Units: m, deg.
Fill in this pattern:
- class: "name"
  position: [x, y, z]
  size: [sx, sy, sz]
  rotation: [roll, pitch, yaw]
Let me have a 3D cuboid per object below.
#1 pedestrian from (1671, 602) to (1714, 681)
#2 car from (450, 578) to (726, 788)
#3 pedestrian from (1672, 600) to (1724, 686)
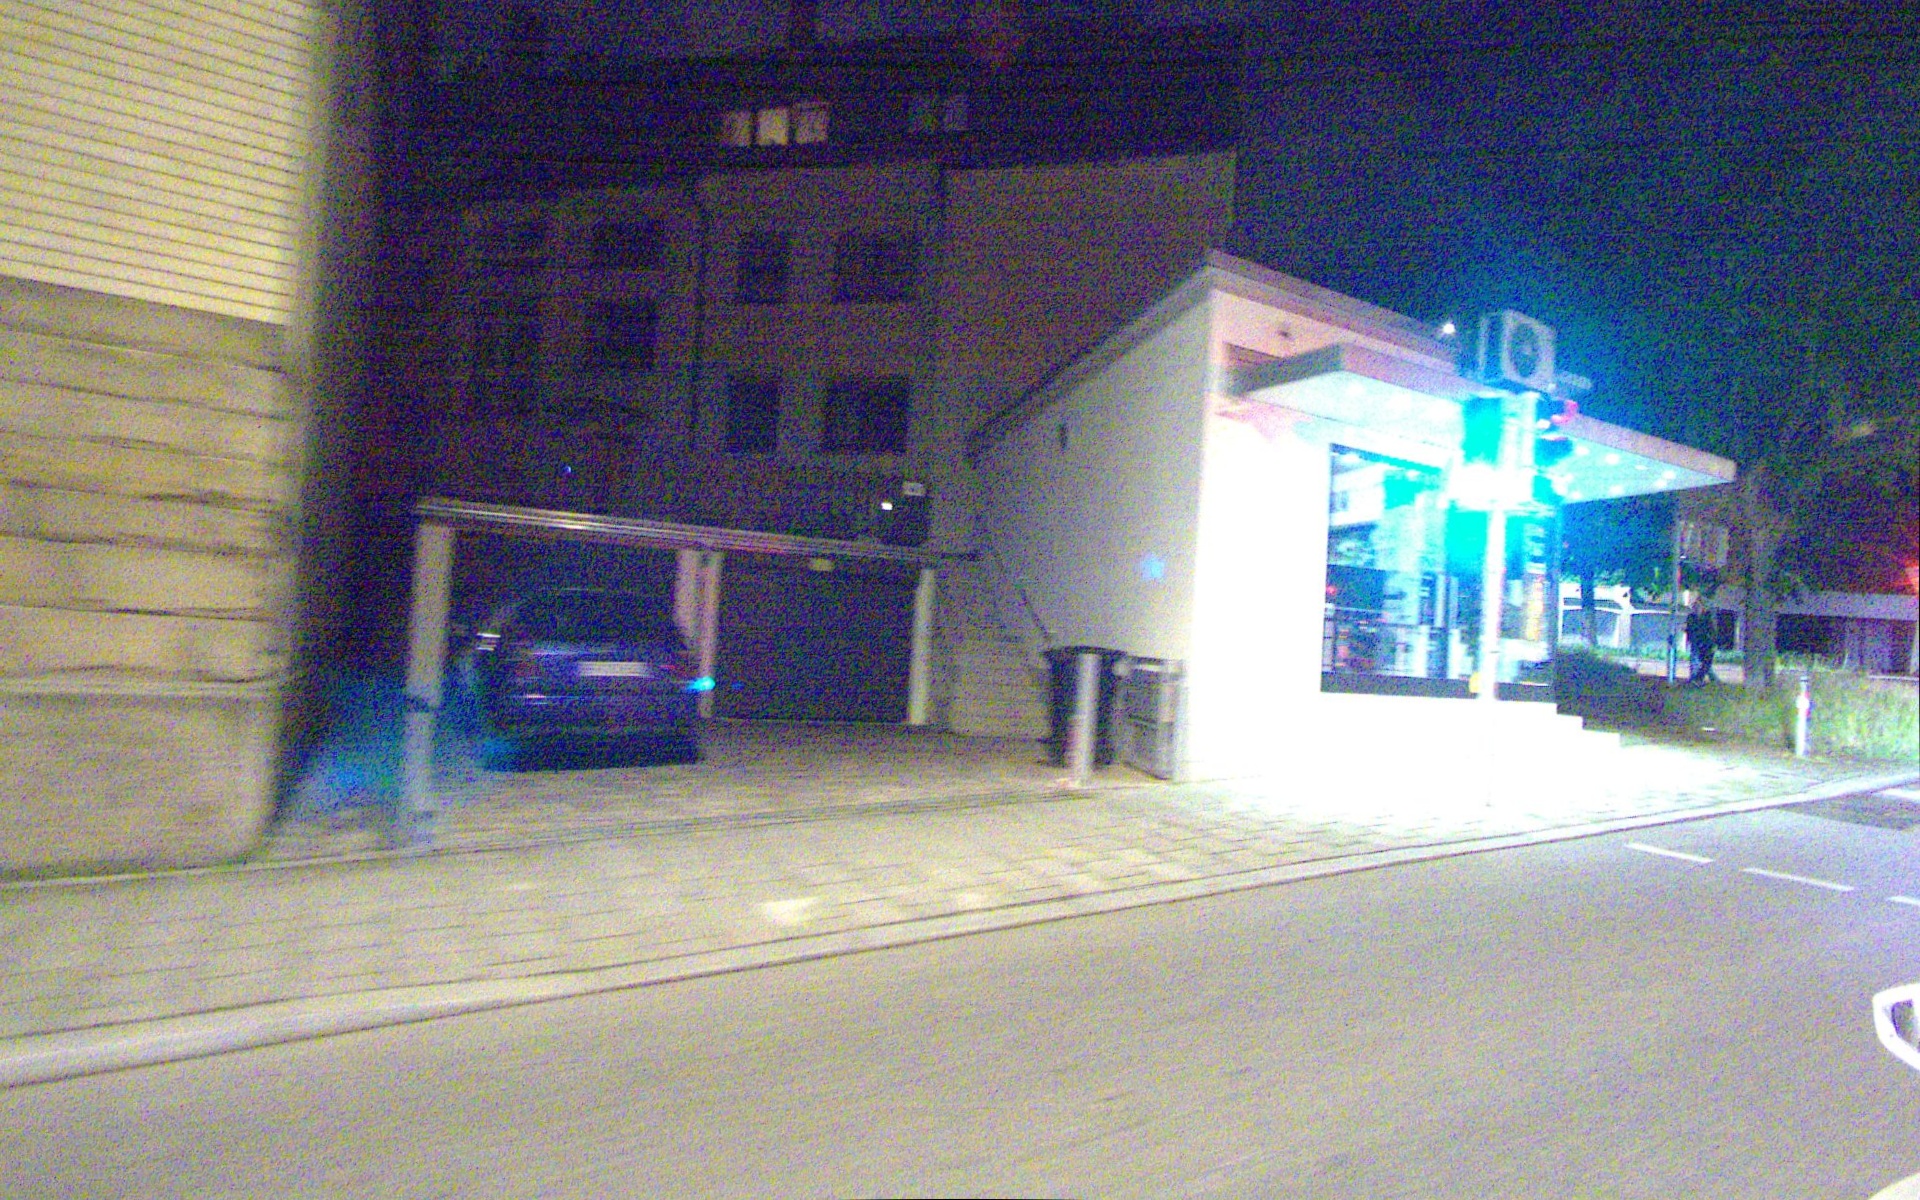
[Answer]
- class: "pedestrian"
  position: [16.466, 0.926, 22.575]
  size: [0.537, 1.754, 0.567]
  rotation: [2, 0, -30]
- class: "car"
  position: [-3.489, 0.577, 9.005]
  size: [1.700, 1.460, 3.631]
  rotation: [2, 0, -30]
- class: "pedestrian"
  position: [15.837, 0.918, 21.555]
  size: [0.729, 1.801, 0.567]
  rotation: [2, 2, -30]
